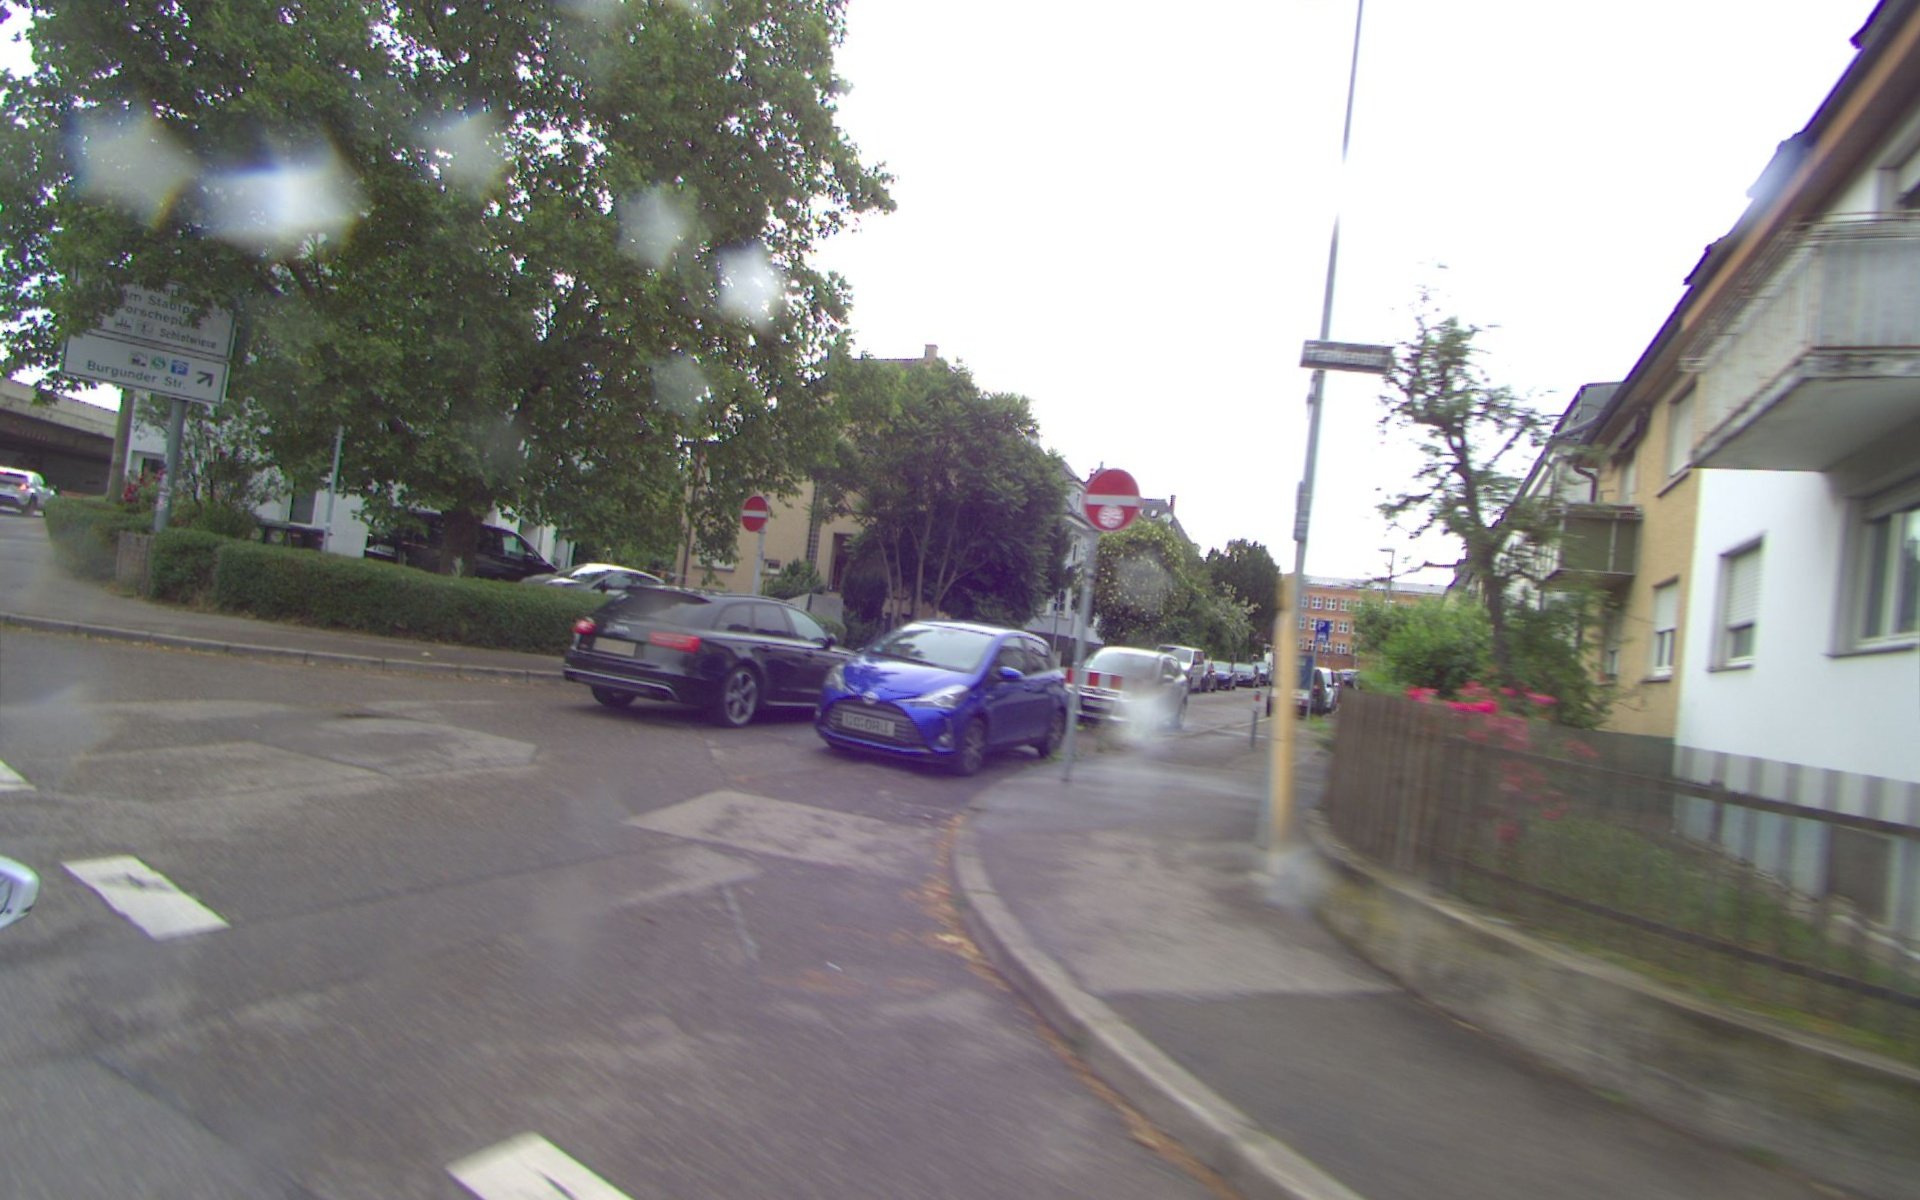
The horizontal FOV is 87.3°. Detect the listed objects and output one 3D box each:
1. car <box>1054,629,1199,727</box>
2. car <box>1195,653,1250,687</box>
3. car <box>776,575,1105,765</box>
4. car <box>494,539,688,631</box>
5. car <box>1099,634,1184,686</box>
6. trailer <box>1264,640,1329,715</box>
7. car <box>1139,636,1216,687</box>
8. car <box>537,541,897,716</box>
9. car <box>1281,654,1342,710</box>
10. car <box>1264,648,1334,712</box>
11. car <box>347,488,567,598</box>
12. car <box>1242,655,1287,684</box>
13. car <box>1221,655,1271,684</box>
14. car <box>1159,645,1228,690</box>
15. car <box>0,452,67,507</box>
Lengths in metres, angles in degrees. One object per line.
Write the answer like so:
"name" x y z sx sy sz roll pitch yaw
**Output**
"car" 3.327 1.508 19.551 1.740 1.470 3.785 9 -1 24
"car" 13.937 3.728 53.307 1.737 1.471 3.995 8 -1 29
"car" 0.015 0.764 11.277 1.852 1.498 4.124 8 0 26
"car" -8.635 -0.304 23.880 1.791 1.599 3.996 8 -1 29
"car" 6.986 2.332 38.449 1.965 1.575 3.997 8 0 27
"trailer" 10.871 2.476 32.390 1.641 2.037 3.492 8 0 20
"car" 9.402 2.690 43.287 1.966 1.796 3.996 8 -1 29
"car" -2.638 0.393 12.367 1.851 1.498 4.819 8 0 19
"car" 14.401 3.308 41.076 1.963 1.861 4.580 8 -1 21
"car" 12.243 2.847 36.191 1.963 1.861 4.580 8 -1 21
"car" -12.149 -1.302 24.645 1.964 1.955 4.415 8 -1 23
"car" 20.790 4.756 68.597 1.966 1.542 3.995 8 -1 29
"car" 17.829 4.335 62.528 1.966 1.396 3.995 8 -1 29
"car" 11.142 3.224 47.727 1.966 1.749 3.995 8 -1 29
"car" -33.724 -4.349 35.800 1.980 1.567 3.969 9 -1 -30
